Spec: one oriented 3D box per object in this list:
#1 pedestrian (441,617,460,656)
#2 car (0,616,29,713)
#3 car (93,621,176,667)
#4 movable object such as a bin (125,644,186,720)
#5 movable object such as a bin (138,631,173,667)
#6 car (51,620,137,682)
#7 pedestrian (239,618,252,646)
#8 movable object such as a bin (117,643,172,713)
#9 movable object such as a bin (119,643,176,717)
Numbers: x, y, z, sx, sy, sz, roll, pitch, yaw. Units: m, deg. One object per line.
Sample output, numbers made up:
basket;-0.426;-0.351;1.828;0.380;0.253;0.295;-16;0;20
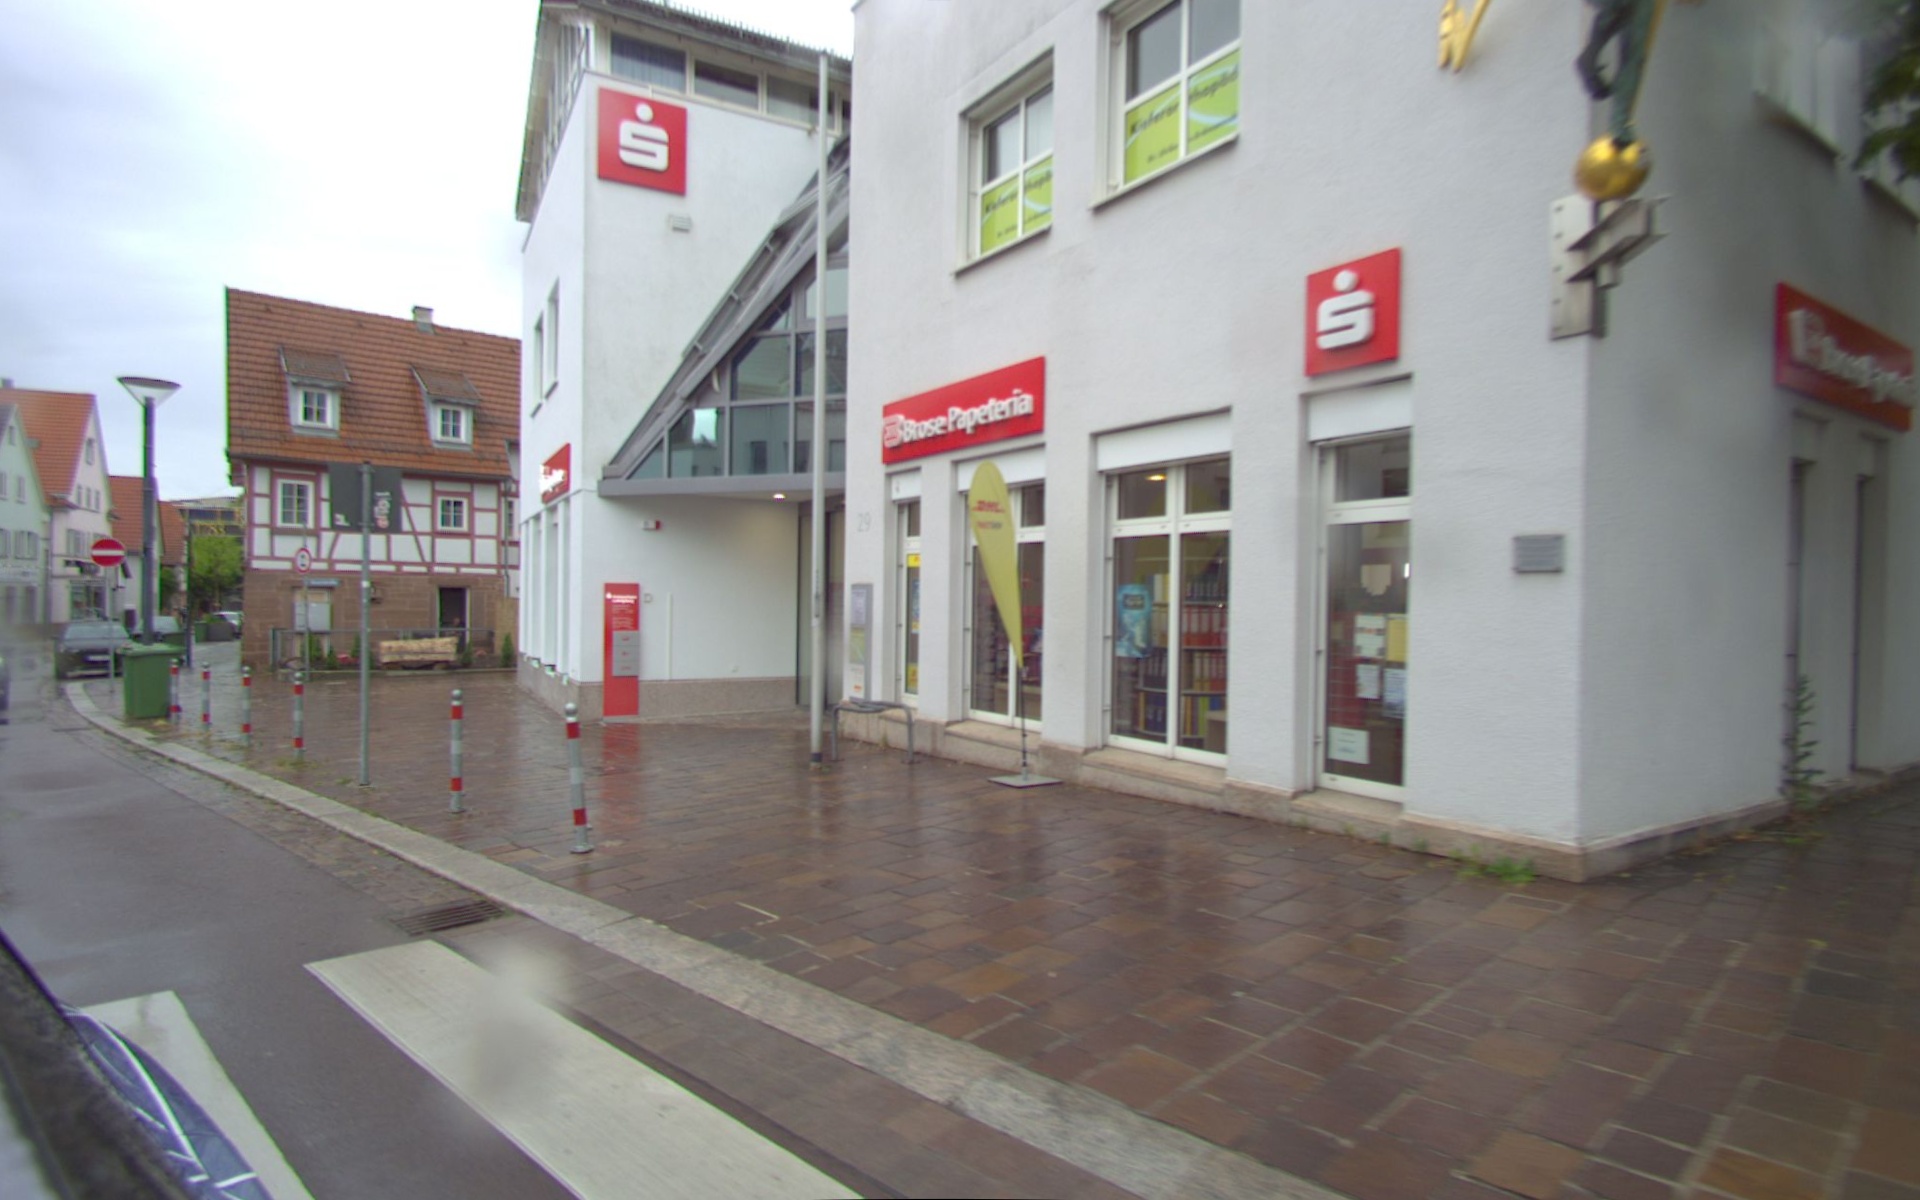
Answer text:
pedestrian;-15.067;1.075;29.922;0.406;1.163;0.425;1;-2;-39
car;-17.366;1.077;17.386;1.710;1.567;3.852;1;-2;-38
car;-31.416;1.624;38.621;1.966;1.541;4.011;-2;1;-33
movable object such as a bin;-12.294;1.240;15.464;0.651;1.104;0.614;2;-2;-44
movable object such as a bin;-25.274;1.528;31.799;0.822;1.120;0.920;1;-1;-40
car;-23.976;1.337;27.960;1.669;1.497;4.005;-1;0;-42
pedestrian;-33.807;1.509;47.899;0.448;1.317;0.519;-1;1;-32
movable object such as a bin;-13.302;1.256;16.504;0.650;1.090;0.553;2;-2;-42
movable object such as a bin;-12.891;1.253;16.059;0.650;1.123;0.553;2;-2;-42
